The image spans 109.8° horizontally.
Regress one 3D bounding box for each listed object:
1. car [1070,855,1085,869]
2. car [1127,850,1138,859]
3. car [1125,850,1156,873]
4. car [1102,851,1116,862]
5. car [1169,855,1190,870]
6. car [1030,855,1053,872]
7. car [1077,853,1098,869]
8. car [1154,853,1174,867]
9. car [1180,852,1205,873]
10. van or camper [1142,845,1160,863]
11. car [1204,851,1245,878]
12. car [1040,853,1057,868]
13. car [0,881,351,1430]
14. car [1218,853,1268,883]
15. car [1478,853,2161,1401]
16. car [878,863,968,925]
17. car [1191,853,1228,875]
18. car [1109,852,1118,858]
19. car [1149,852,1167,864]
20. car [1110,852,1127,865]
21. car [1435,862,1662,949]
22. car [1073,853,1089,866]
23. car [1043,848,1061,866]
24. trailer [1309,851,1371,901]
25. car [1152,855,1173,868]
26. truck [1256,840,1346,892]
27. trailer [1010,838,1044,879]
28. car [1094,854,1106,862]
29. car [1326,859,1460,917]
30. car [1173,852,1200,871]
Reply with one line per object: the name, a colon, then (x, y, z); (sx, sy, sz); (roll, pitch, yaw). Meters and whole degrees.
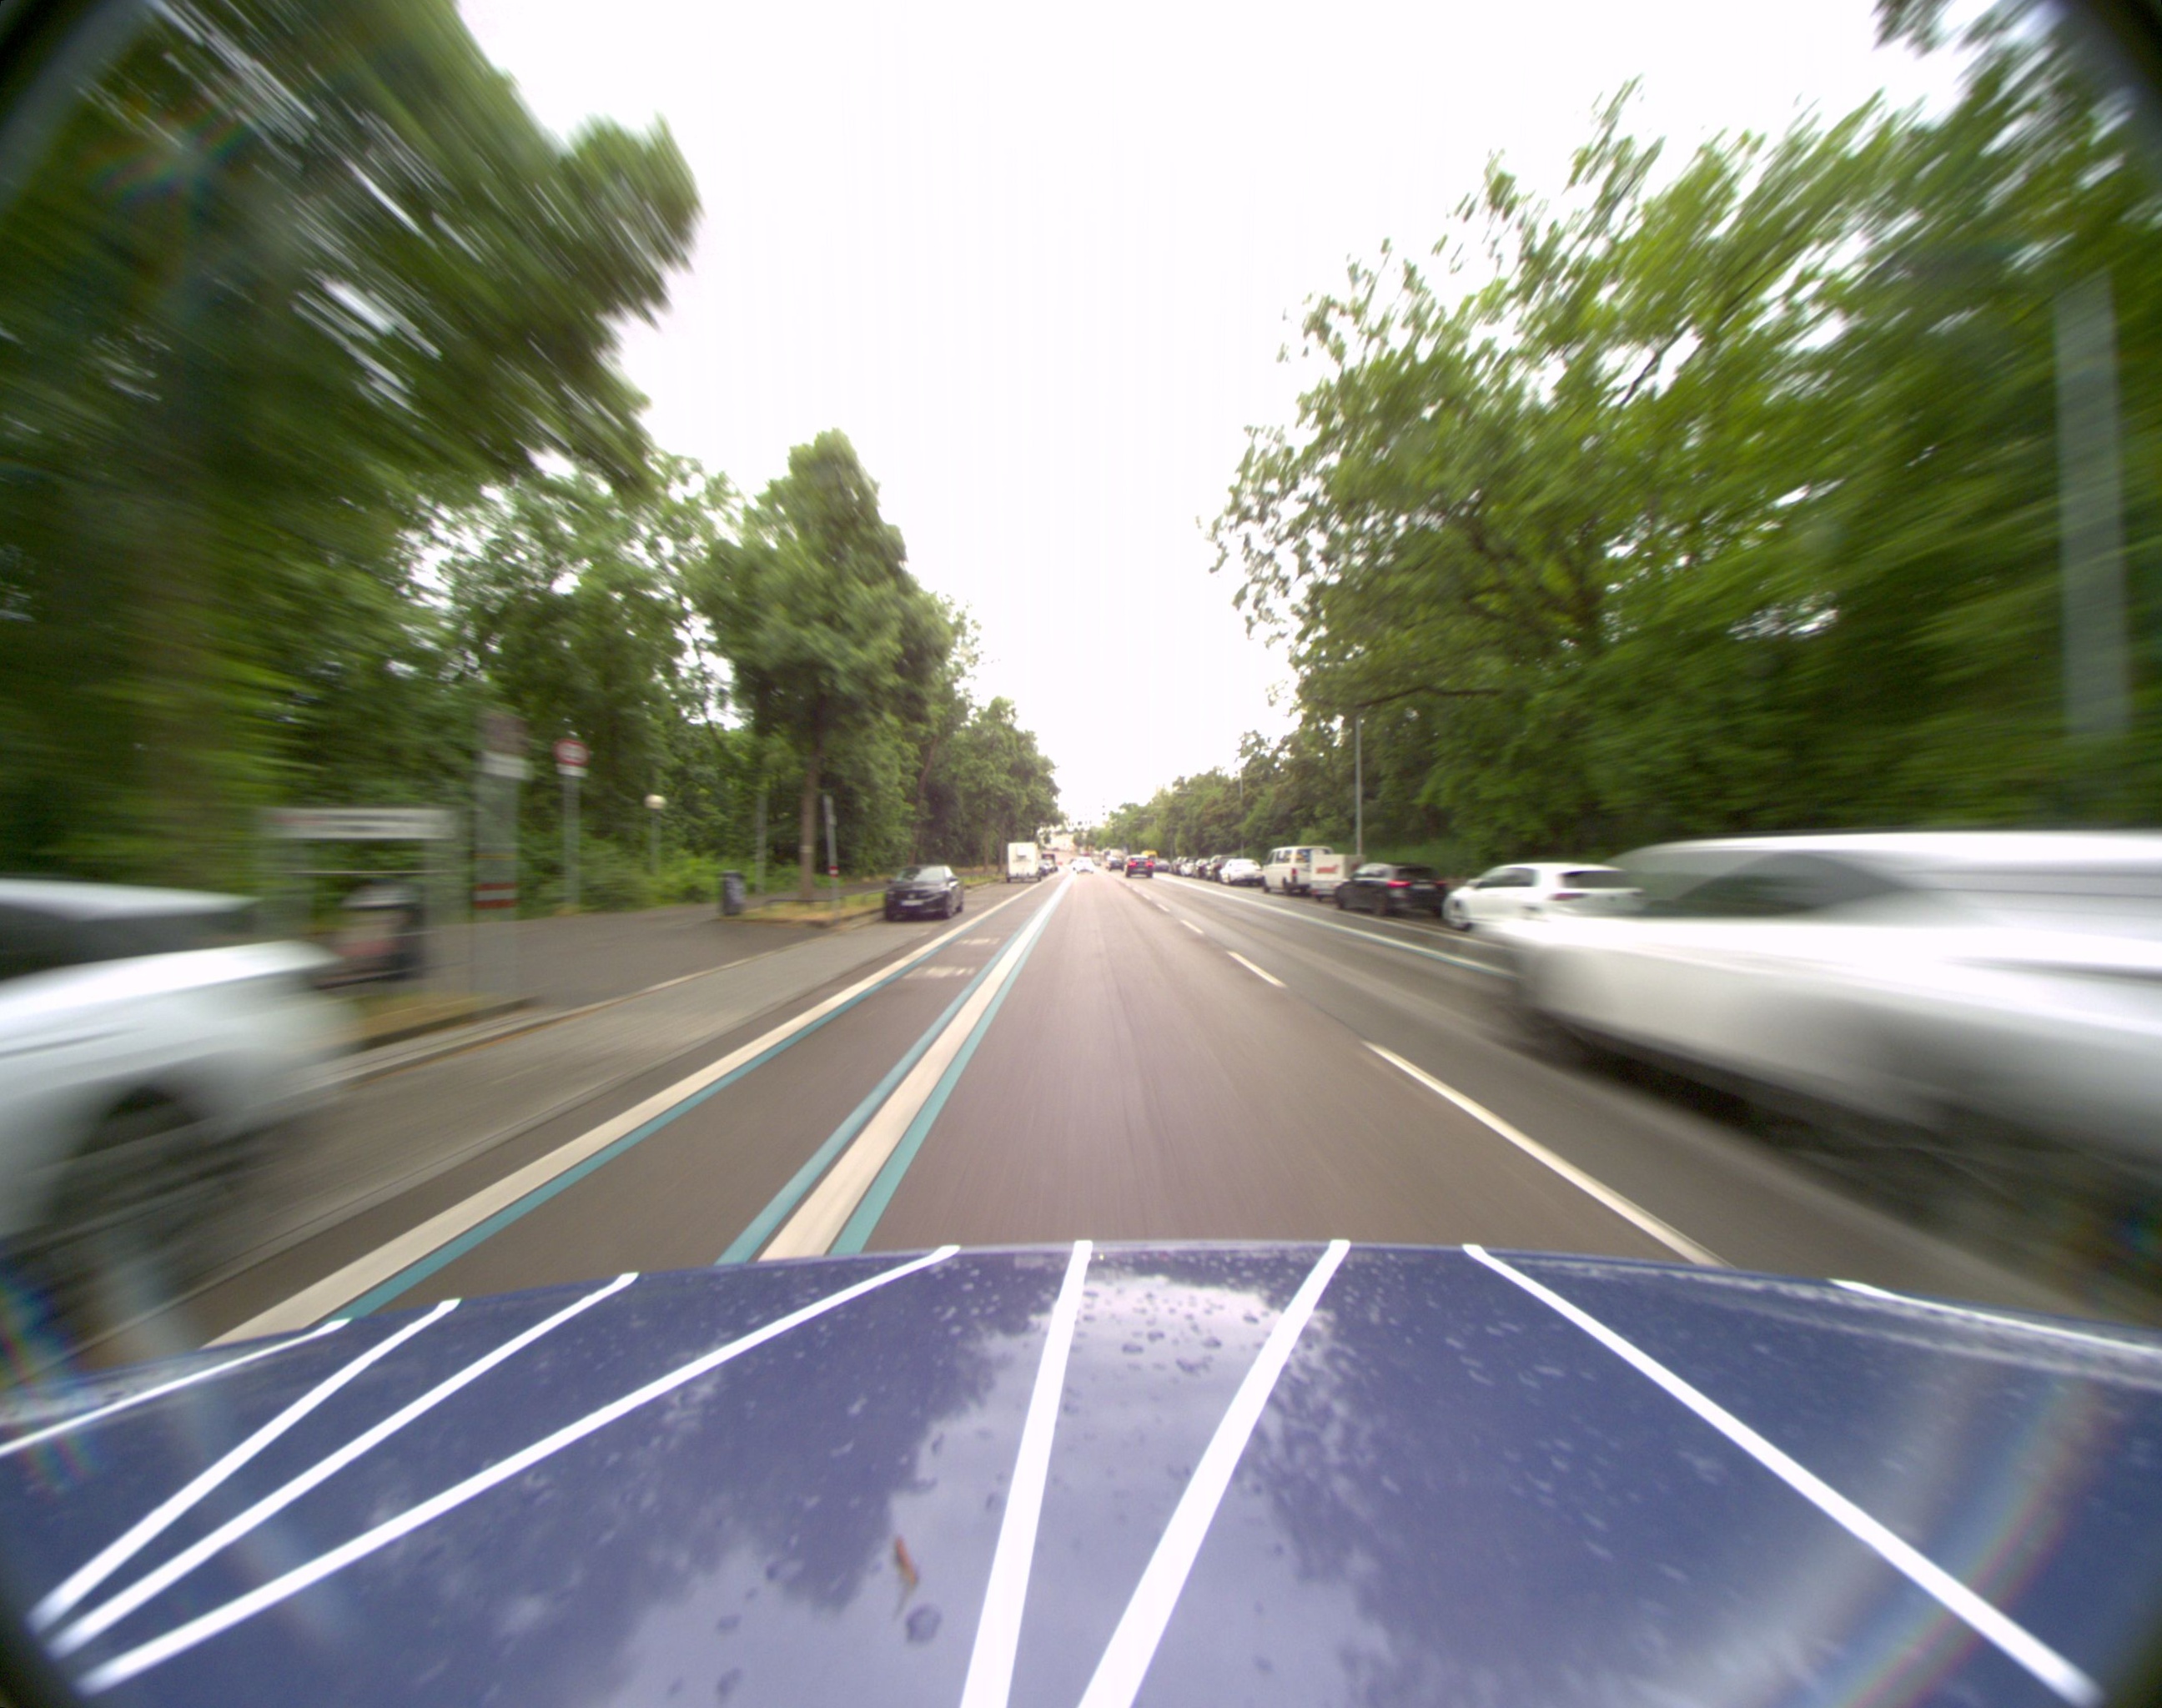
car: (-0.478, 1.036, 98.524); (1.850, 1.719, 3.730); (-1, 0, 0)
car: (9.634, 0.135, 141.990); (1.825, 1.650, 3.558); (-1, 0, 0)
car: (4.418, 0.555, 57.288); (2.043, 1.639, 4.477); (0, 0, 1)
car: (4.125, 0.363, 112.891); (1.790, 1.570, 4.258); (1, 0, 0)
car: (9.041, 0.755, 70.059); (1.514, 1.285, 3.597); (-1, 0, 0)
car: (-3.470, 0.833, 67.027); (1.804, 1.455, 4.000); (-1, 0, 0)
car: (0.666, 0.680, 76.273); (1.998, 1.589, 4.000); (-2, 0, 1)
car: (9.277, 0.674, 85.349); (1.825, 1.427, 3.773); (-1, 0, 0)
car: (8.871, 0.652, 60.471); (1.527, 1.584, 2.860); (0, 0, -1)
van or camper: (9.747, -0.018, 106.161); (2.165, 2.437, 4.436); (-1, 0, 0)
car: (9.144, 0.654, 48.774); (1.740, 1.651, 4.673); (-1, 0, -1)
car: (-3.663, 0.746, 85.866); (1.804, 1.589, 4.000); (-1, 0, 0)
car: (-4.337, 0.983, 1.188); (1.999, 1.652, 4.561); (-1, 0, -1)
car: (8.934, 0.747, 42.246); (1.811, 1.489, 4.752); (0, 1, 0)
car: (4.239, 0.833, 4.004); (1.959, 1.629, 4.444); (1, 0, 0)
car: (-4.249, 1.021, 21.009); (1.700, 1.468, 3.997); (-1, 0, -1)
car: (9.211, 0.716, 54.818); (1.901, 1.466, 4.553); (-1, 0, -1)
car: (7.810, 0.184, 182.615); (1.825, 1.427, 3.558); (1, 0, 0)
car: (9.706, 0.502, 96.053); (1.825, 1.470, 3.558); (-1, 0, 0)
car: (4.415, 0.534, 89.893); (1.769, 1.449, 4.496); (1, 0, 1)
car: (8.951, 0.900, 15.071); (1.759, 1.427, 4.356); (-1, 0, -1)
car: (0.016, 0.698, 97.943); (1.998, 1.629, 4.000); (0, 1, 1)
car: (-3.687, 0.399, 97.702); (1.998, 2.231, 3.999); (-2, 1, 0)
trailer: (9.142, 0.733, 26.754); (1.347, 1.648, 2.271); (0, 1, 39)
car: (8.582, 0.743, 80.498); (1.825, 1.285, 4.206); (-1, 0, 0)
truck: (9.134, 0.467, 32.066); (2.099, 2.002, 5.158); (-1, 0, -2)
trailer: (-3.510, 0.305, 49.923); (1.988, 2.550, 3.999); (-1, 0, -2)
car: (3.431, 0.638, 138.610); (1.805, 1.394, 3.999); (-1, 0, -3)
car: (8.649, 0.888, 21.535); (1.826, 1.390, 4.444); (-1, 0, -3)
car: (8.960, 0.611, 64.747); (1.819, 1.579, 3.992); (-1, 0, 1)
